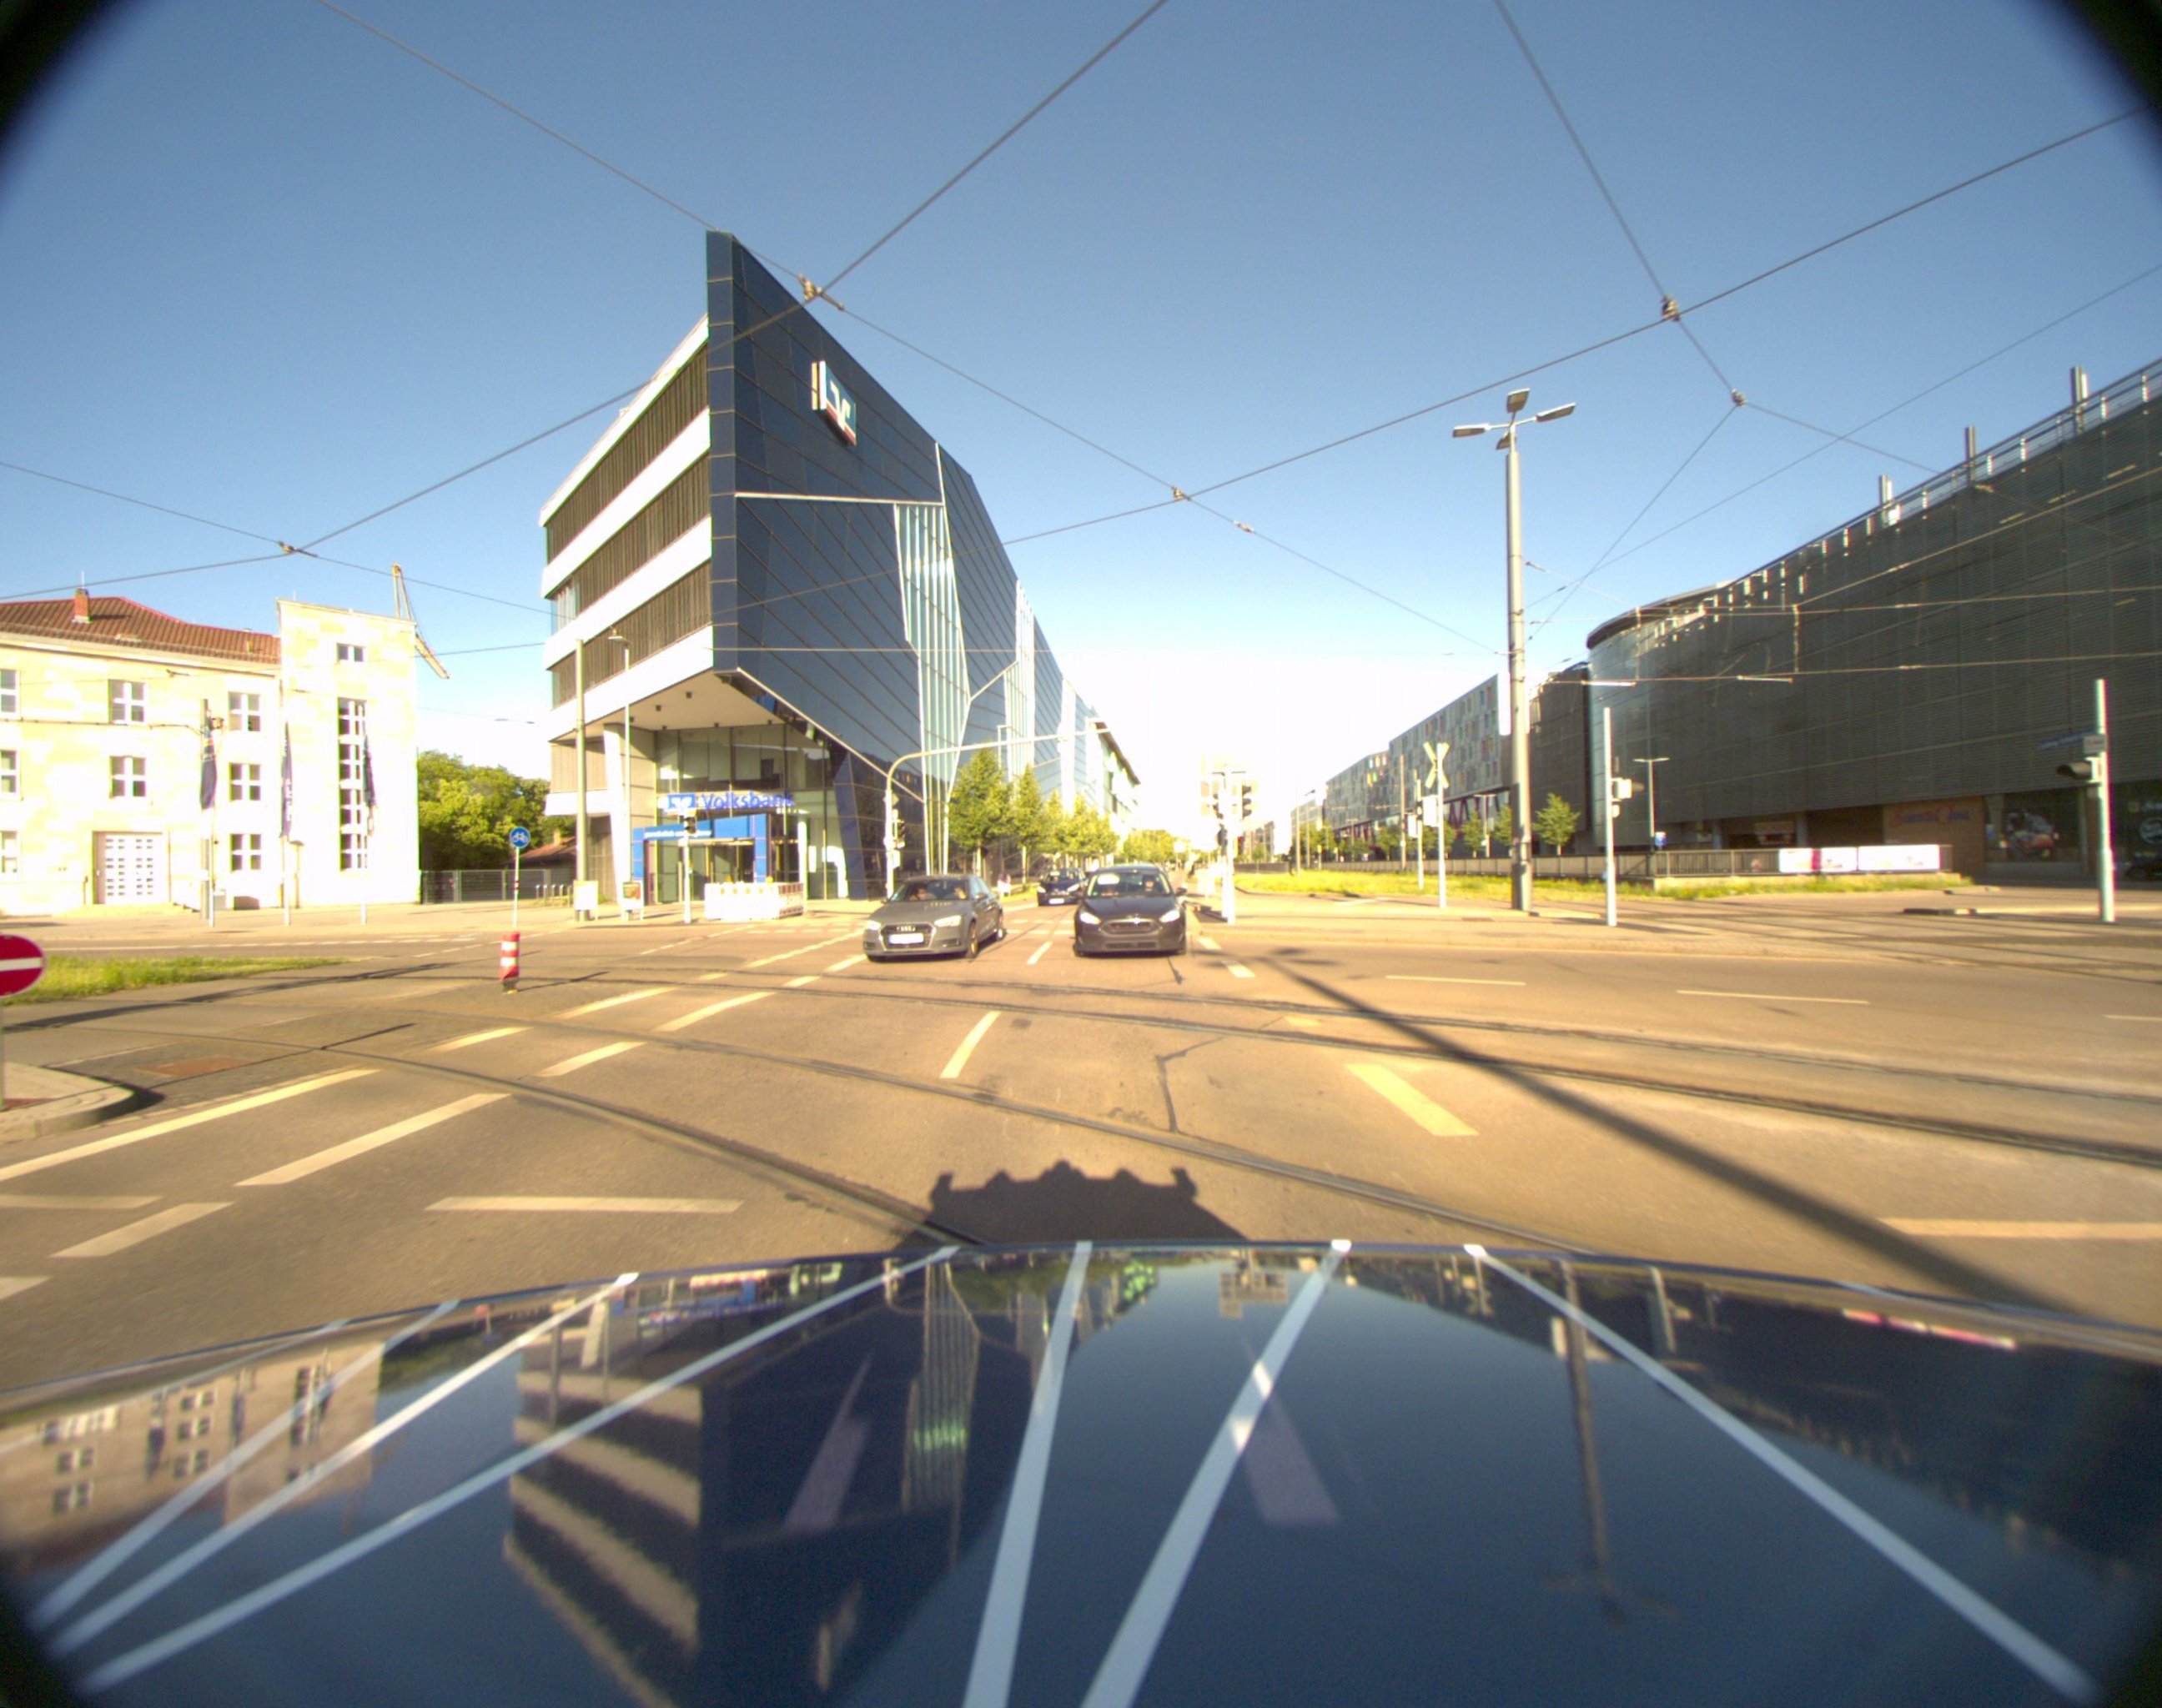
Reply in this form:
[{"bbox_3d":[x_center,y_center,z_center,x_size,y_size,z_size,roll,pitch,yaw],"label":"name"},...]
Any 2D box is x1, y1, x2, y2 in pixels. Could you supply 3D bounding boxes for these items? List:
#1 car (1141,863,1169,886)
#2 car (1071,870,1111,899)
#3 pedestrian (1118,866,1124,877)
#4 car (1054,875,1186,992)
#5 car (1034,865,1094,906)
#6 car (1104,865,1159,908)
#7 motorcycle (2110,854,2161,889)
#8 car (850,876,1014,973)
[{"bbox_3d":[5.609,1.533,57.137,1.906,1.612,4.003,-2,-1,8],"label":"car"},{"bbox_3d":[0.589,1.664,41.703,1.752,1.469,3.421,-3,-2,8],"label":"car"},{"bbox_3d":[6.368,2.768,120.395,0.828,1.813,0.906,2,-1,8],"label":"pedestrian"},{"bbox_3d":[0.840,1.173,12.804,1.786,1.499,4.593,-1,-1,8],"label":"car"},{"bbox_3d":[-0.627,1.260,30.835,1.752,1.469,3.975,-3,-2,8],"label":"car"},{"bbox_3d":[2.141,1.294,31.392,1.906,1.612,4.003,-2,-1,8],"label":"car"},{"bbox_3d":[45.602,0.704,31.004,1.997,1.444,4.004,-2,-2,8],"label":"motorcycle"},{"bbox_3d":[-2.512,1.162,13.897,1.749,1.383,4.267,-3,-1,5],"label":"car"}]
